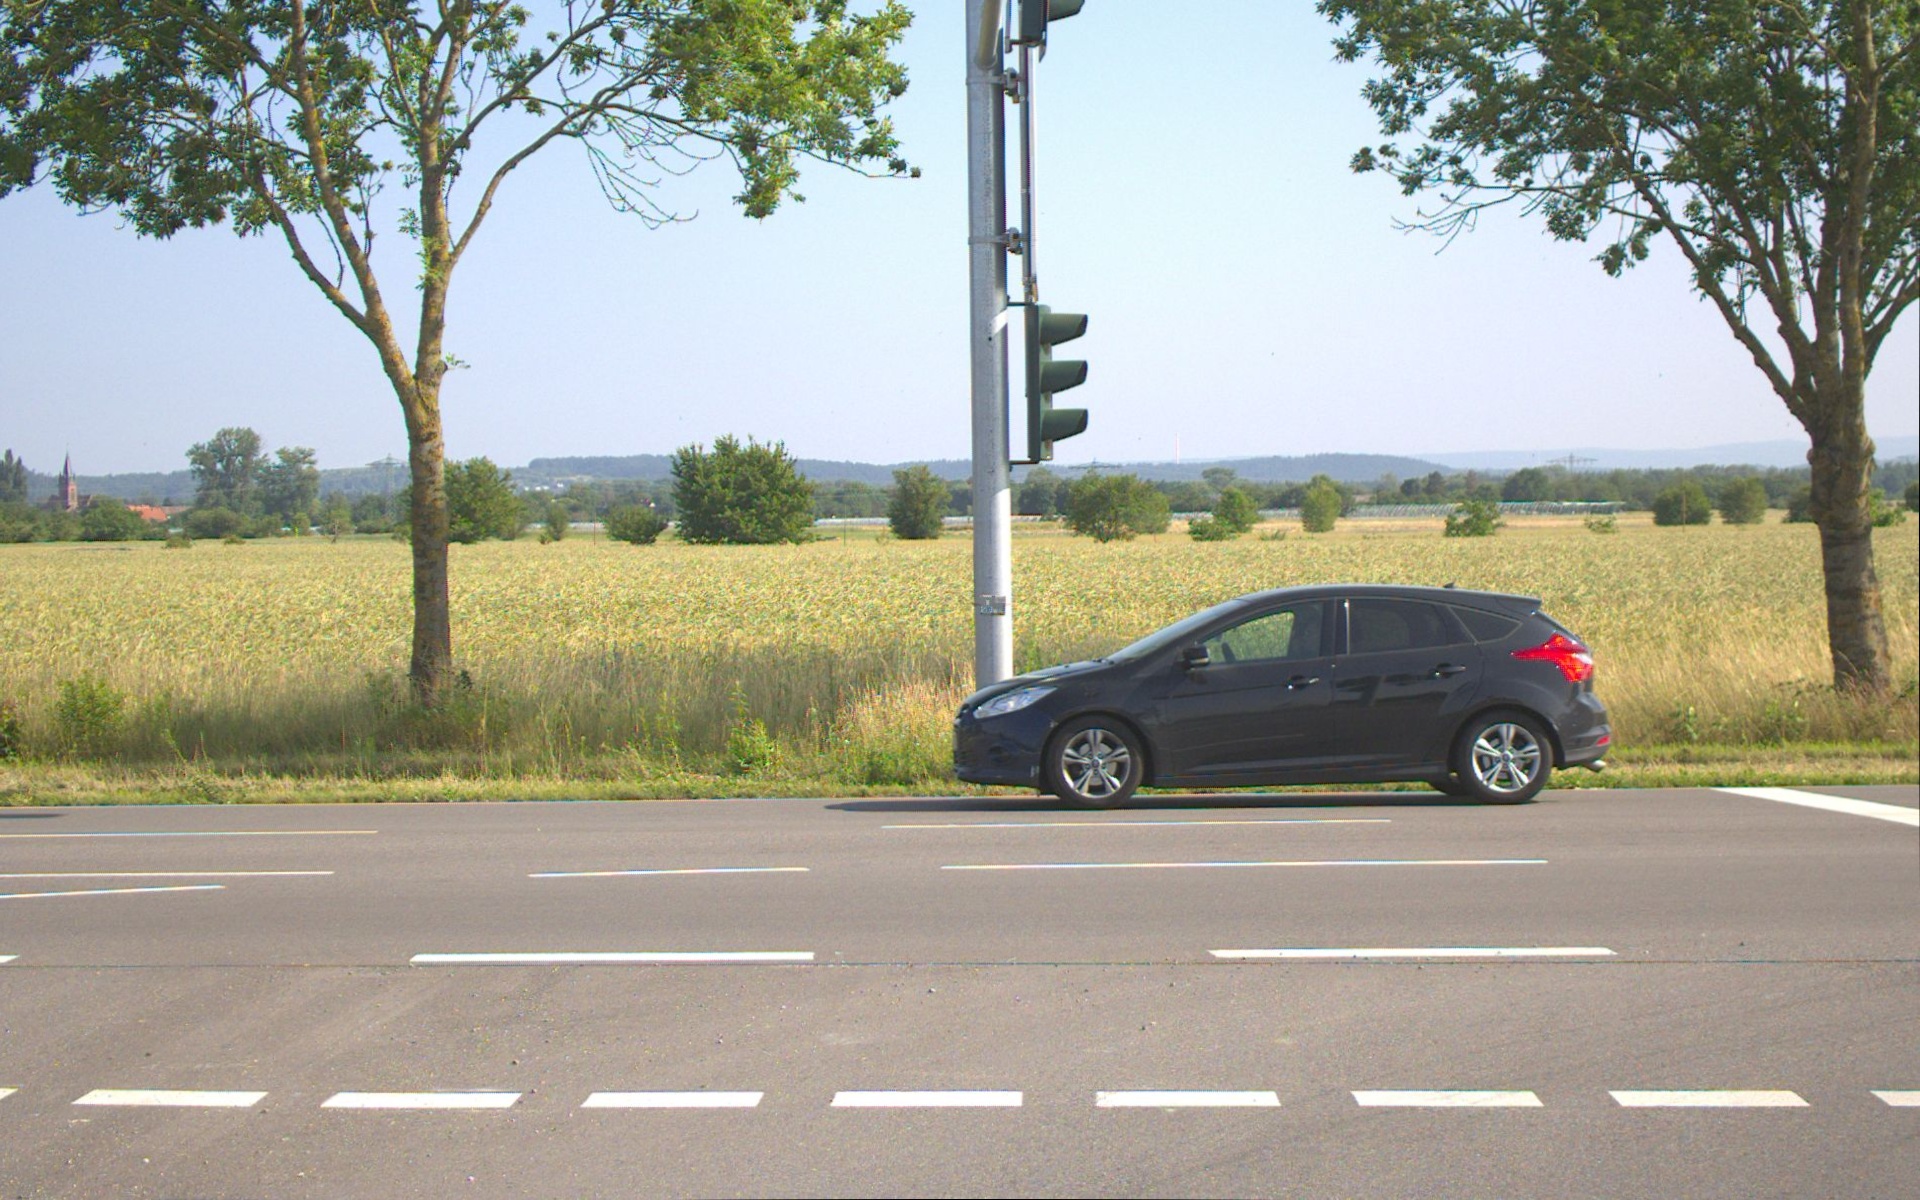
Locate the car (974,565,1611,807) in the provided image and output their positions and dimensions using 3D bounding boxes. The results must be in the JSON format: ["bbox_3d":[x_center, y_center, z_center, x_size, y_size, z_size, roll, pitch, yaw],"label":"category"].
[{"bbox_3d":[2.129,0.541,22.929,3.986,1.496,2.000,0,2,-2],"label":"car"}]
